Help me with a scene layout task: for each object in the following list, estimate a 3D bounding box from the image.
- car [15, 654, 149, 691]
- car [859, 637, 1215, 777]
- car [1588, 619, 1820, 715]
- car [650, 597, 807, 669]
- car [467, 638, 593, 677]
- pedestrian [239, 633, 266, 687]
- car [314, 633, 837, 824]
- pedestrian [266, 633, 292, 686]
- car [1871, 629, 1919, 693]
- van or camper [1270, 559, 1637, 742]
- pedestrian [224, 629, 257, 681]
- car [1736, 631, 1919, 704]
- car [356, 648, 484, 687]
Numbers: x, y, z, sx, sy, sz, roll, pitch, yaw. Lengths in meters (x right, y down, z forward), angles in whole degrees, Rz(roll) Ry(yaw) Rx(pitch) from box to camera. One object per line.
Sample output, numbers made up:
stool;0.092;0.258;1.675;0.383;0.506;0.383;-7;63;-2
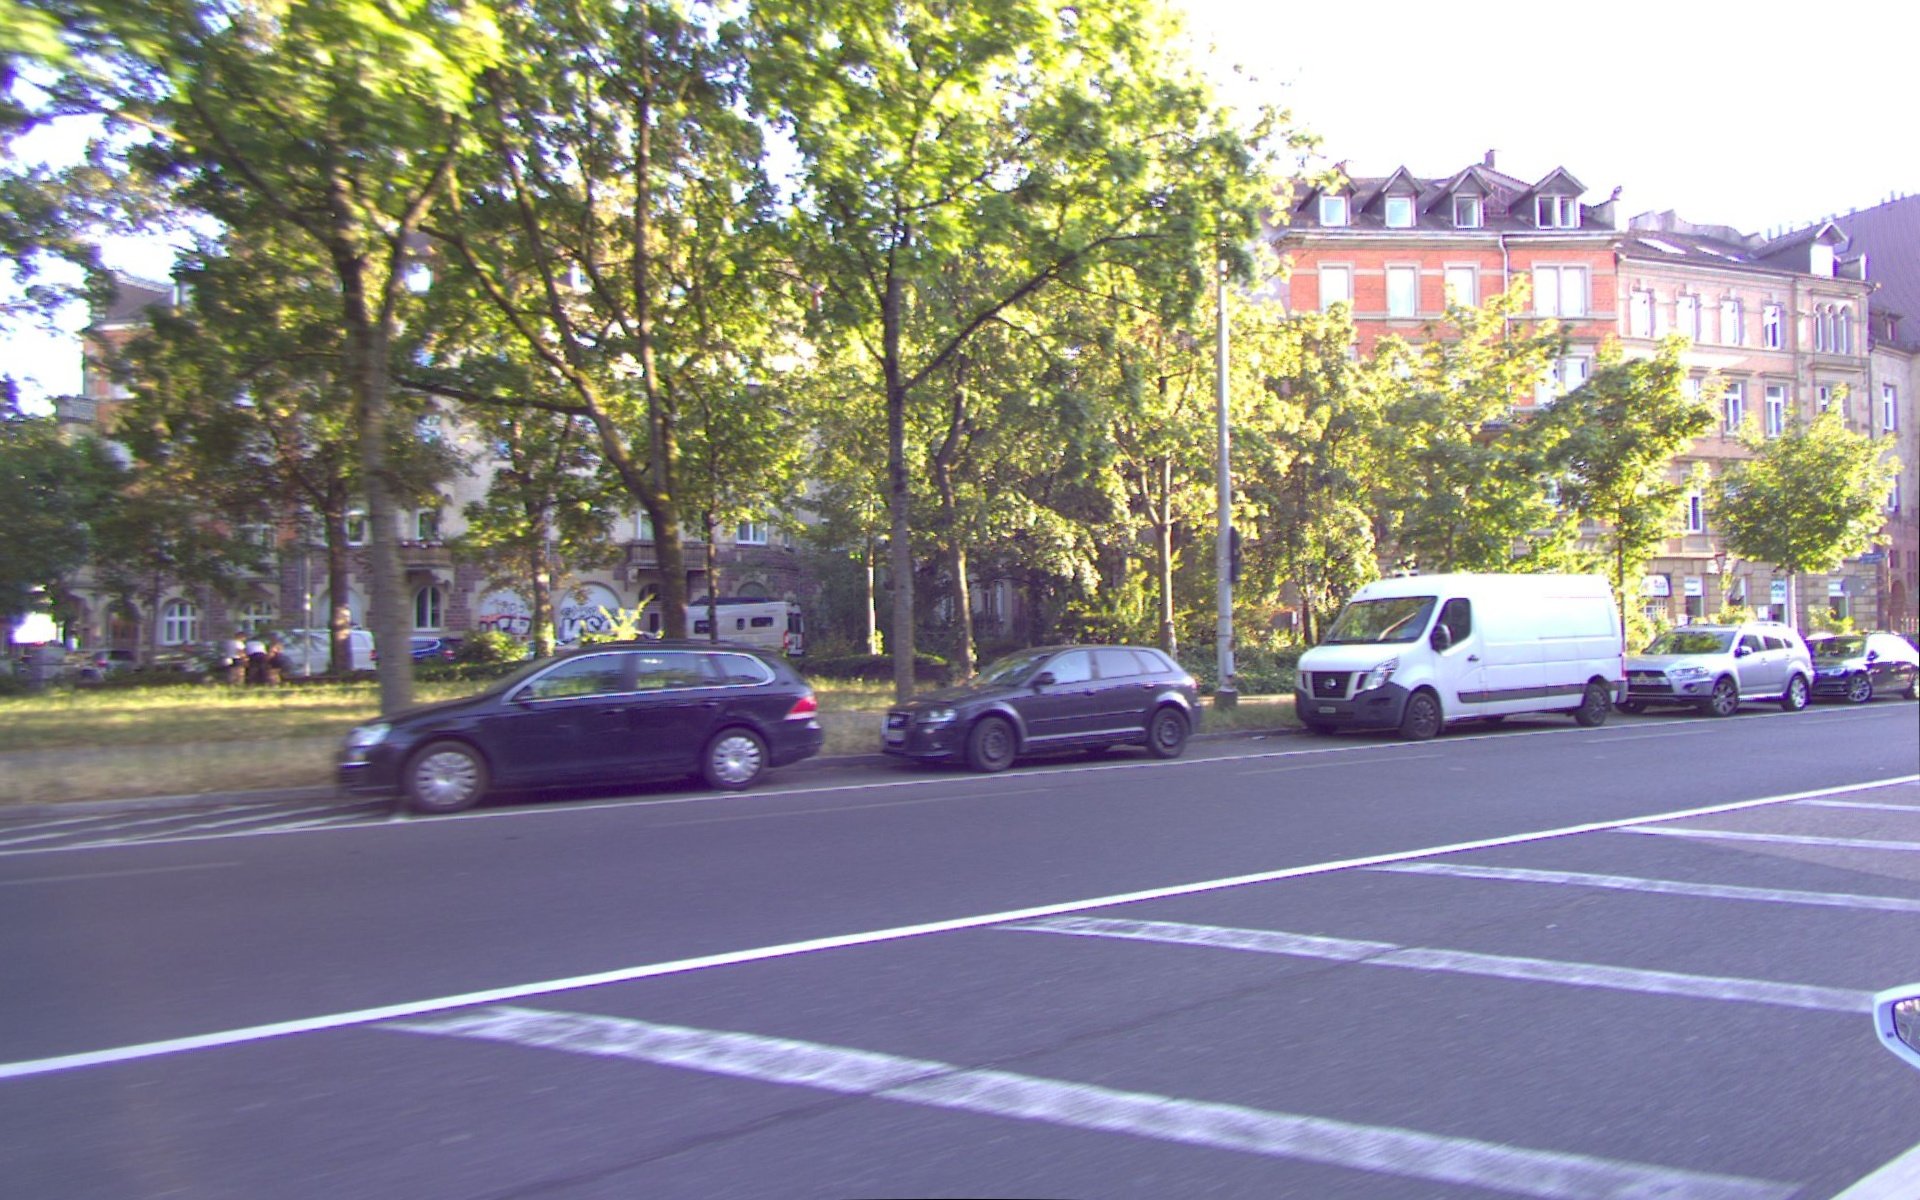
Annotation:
car;-35.397;2.901;40.553;3.919;1.416;1.896;-1;-2;6
car;0.998;1.212;12.412;4.190;1.448;1.622;1;-3;-29
car;14.398;1.238;19.406;4.515;1.666;1.858;1;-3;-29
car;-8.411;1.211;36.762;5.128;2.518;2.275;-1;-2;6
car;-16.112;2.150;37.730;3.919;1.416;1.896;-1;-2;6
pedestrian;-18.666;1.572;26.498;0.553;1.414;0.453;1;-2;-35
car;-3.605;1.108;9.901;4.487;1.526;1.617;1;-3;-28
pedestrian;-18.263;1.583;26.933;0.553;1.414;0.453;1;-2;-35
car;24.924;1.474;24.893;4.769;1.503;1.986;1;-2;-28
van or camper;8.043;0.767;16.179;6.228;2.500;2.082;1;-3;-29
pedestrian;-19.531;1.492;27.286;0.548;1.414;0.458;0;-2;2
car;19.321;1.418;22.199;4.567;1.464;1.729;1;-2;-28
car;-20.528;2.550;38.278;3.919;1.416;1.896;-1;-2;6
